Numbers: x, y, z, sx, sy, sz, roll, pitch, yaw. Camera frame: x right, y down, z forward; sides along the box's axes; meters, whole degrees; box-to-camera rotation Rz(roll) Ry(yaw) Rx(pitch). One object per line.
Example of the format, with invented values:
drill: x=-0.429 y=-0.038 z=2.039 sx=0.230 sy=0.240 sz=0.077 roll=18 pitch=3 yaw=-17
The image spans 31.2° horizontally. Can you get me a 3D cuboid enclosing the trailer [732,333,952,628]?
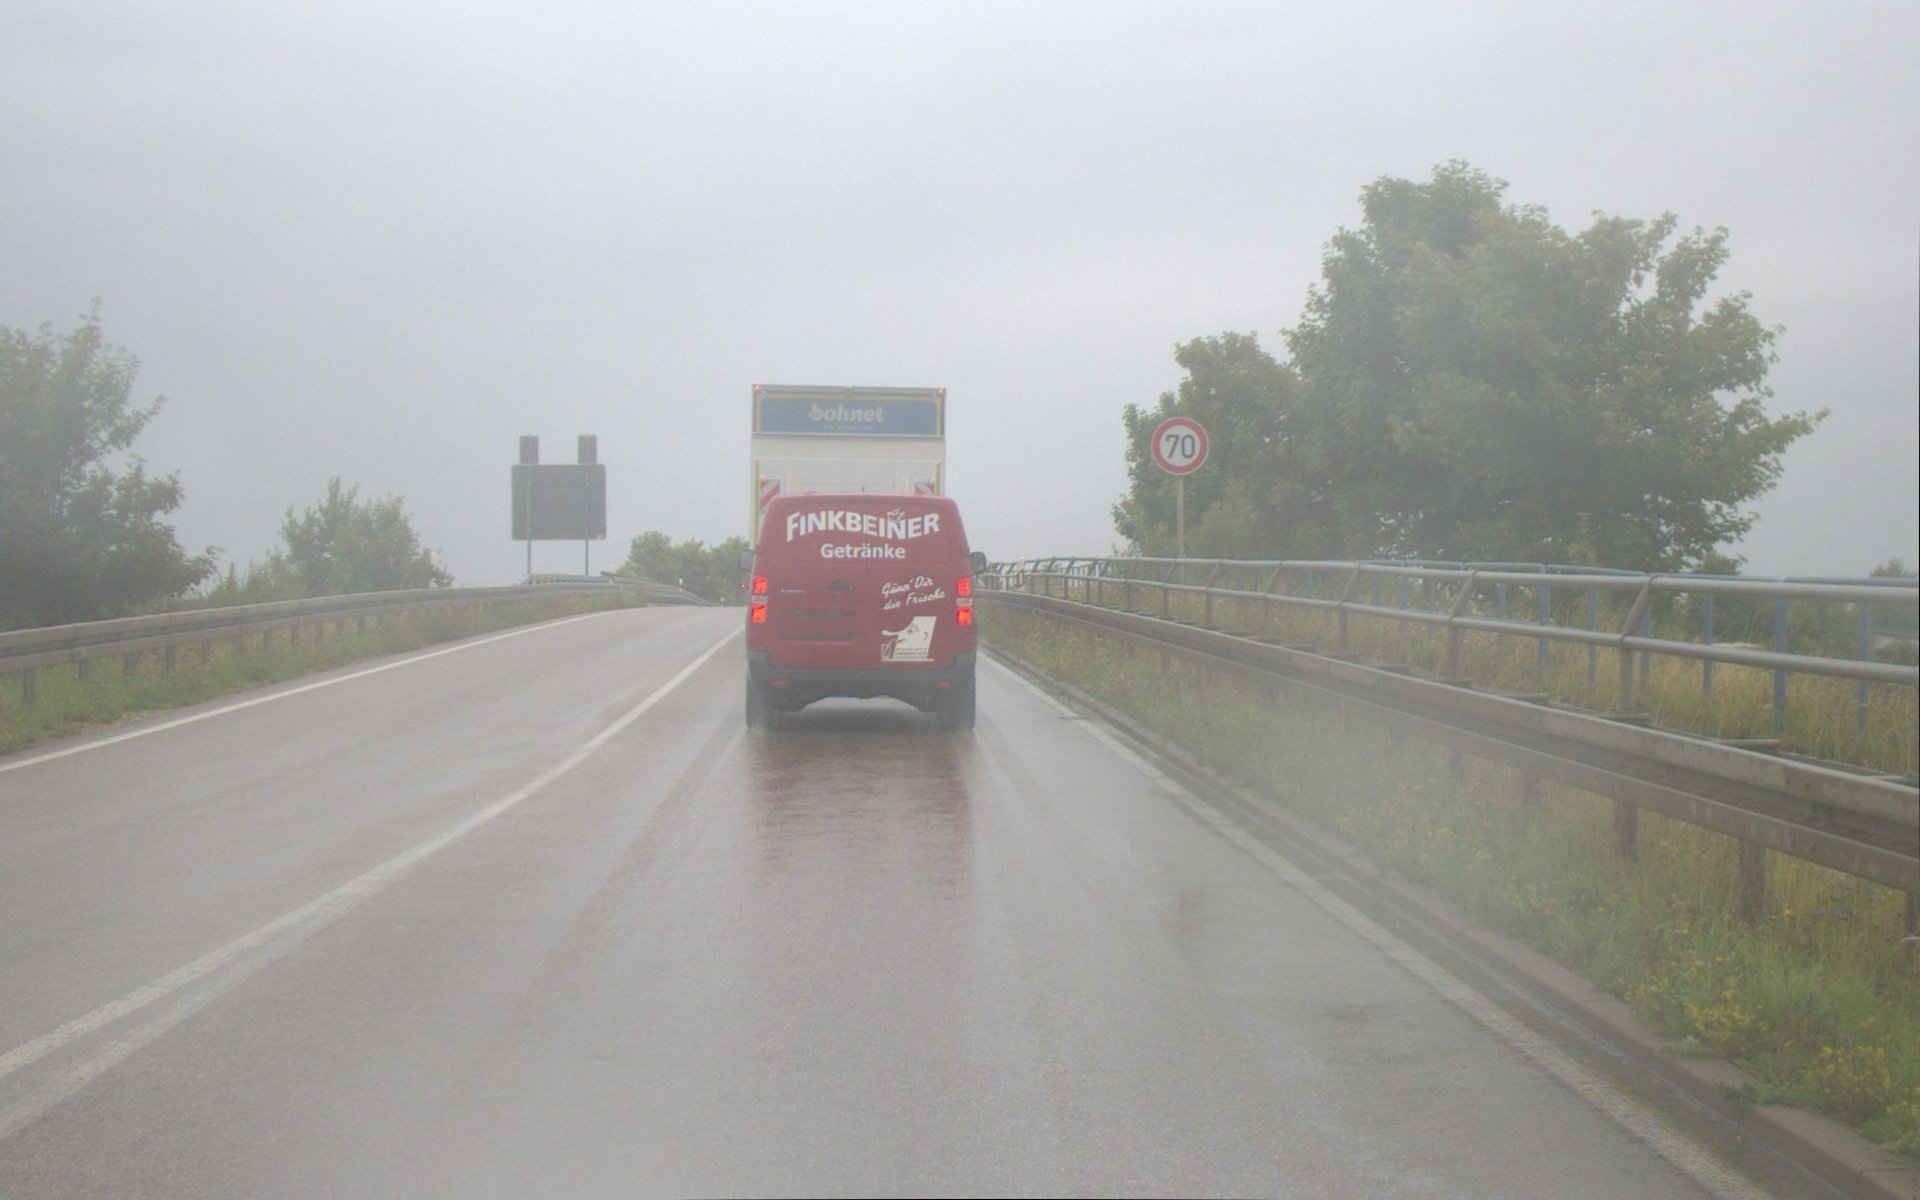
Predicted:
trailer: x=-1.559 y=-1.556 z=49.463 sx=2.832 sy=3.806 sz=9.715 roll=0 pitch=0 yaw=0

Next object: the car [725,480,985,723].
car: x=-0.844 y=-0.012 z=29.236 sx=1.993 sy=1.864 sz=4.979 roll=-1 pitch=1 yaw=-1
